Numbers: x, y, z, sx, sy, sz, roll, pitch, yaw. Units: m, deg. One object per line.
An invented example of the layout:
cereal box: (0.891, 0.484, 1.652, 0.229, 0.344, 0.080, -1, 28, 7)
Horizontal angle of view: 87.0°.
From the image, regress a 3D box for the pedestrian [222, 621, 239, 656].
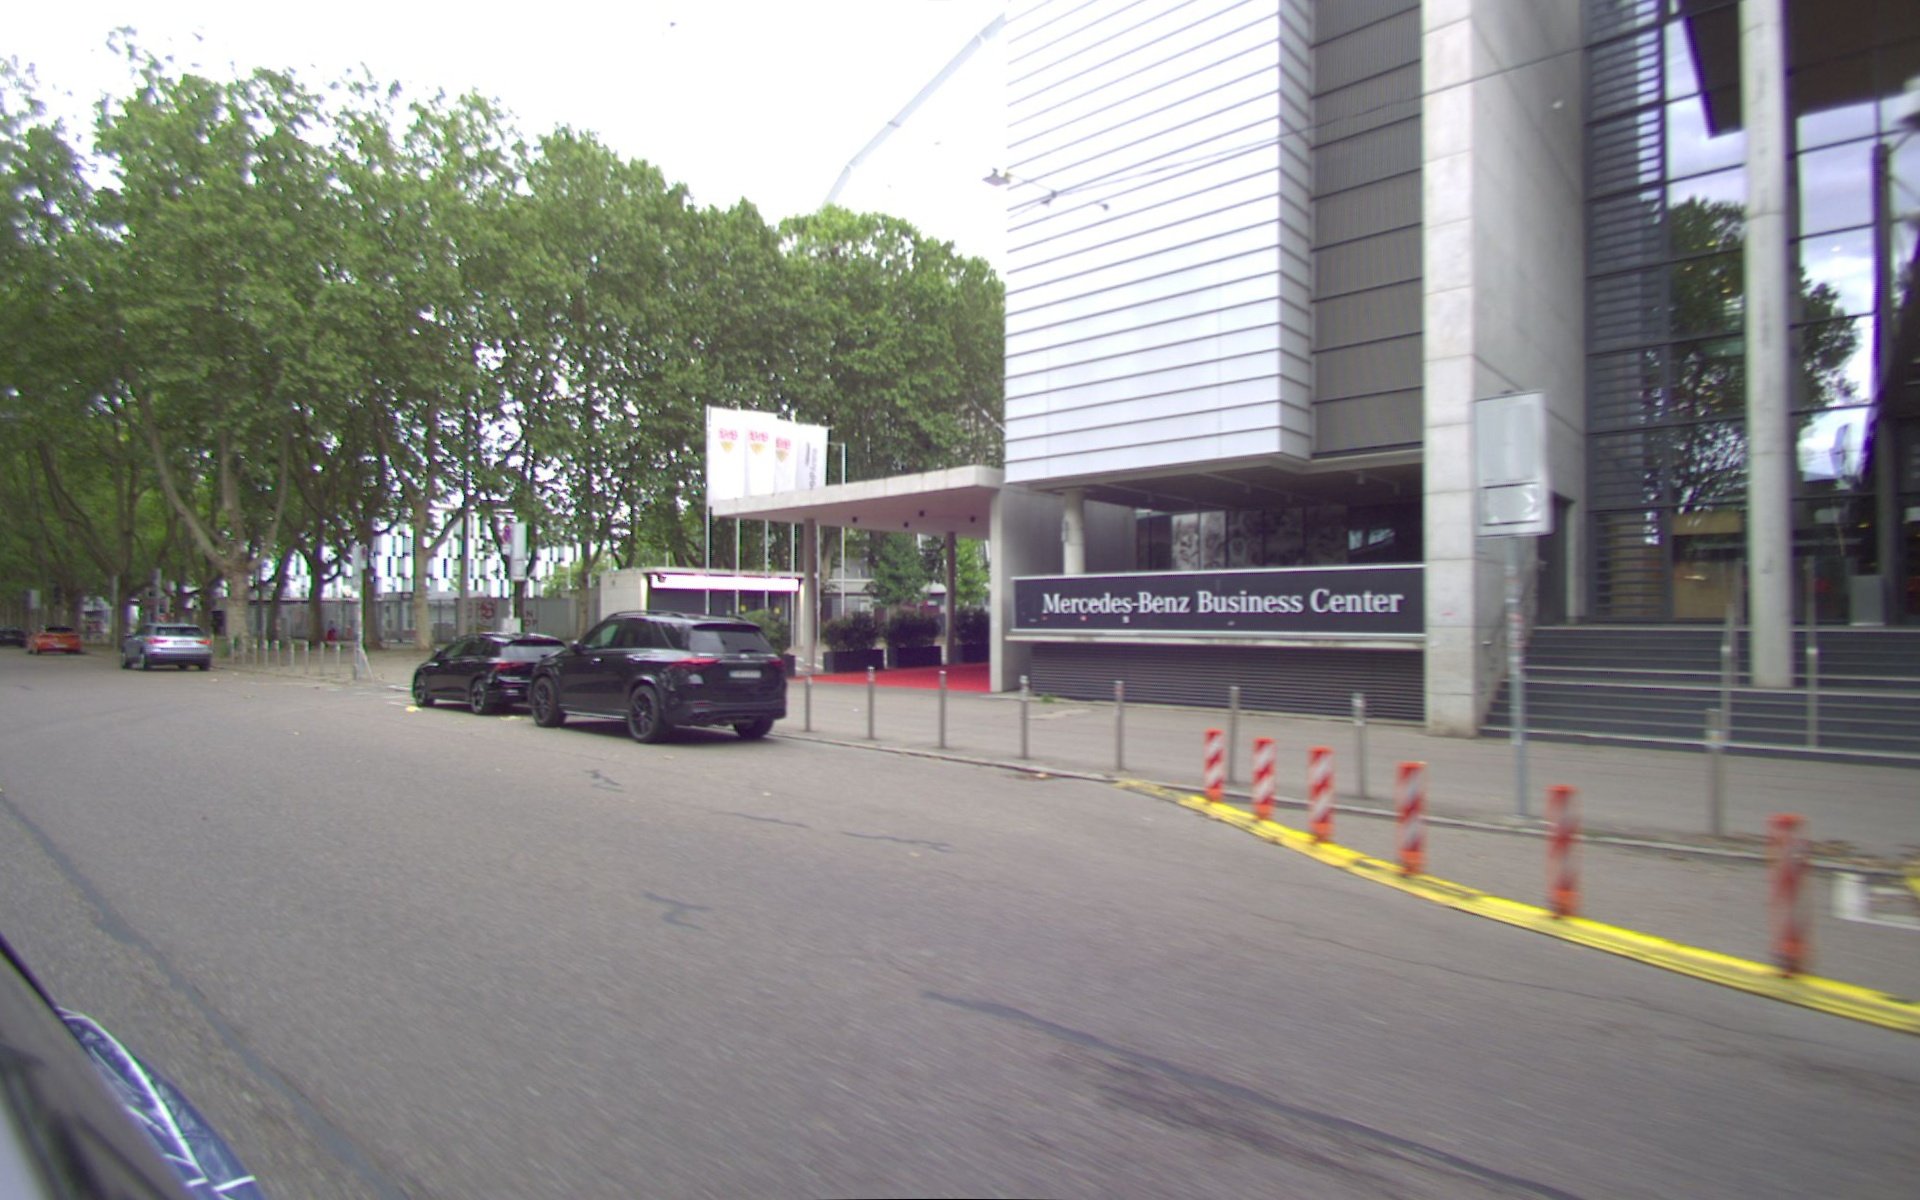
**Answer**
pedestrian: (-34.367, 1.825, 47.665, 0.585, 1.632, 0.793, 0, -1, -40)

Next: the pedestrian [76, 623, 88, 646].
pedestrian: (-66.945, 2.615, 77.162, 0.569, 1.783, 0.769, 0, -2, -34)

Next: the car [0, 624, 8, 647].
car: (-66.658, 2.403, 69.234, 4.149, 1.538, 1.858, -2, -3, 42)

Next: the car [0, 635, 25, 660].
car: (-58.115, 2.856, 61.358, 4.628, 1.477, 1.806, -2, -3, 44)

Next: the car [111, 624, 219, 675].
car: (-26.476, 1.599, 33.648, 4.754, 1.575, 2.051, -2, -2, 42)

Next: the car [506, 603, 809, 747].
car: (-4.638, 1.060, 15.091, 4.906, 1.803, 2.013, -2, -5, 42)

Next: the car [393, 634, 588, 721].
car: (-8.857, 1.386, 18.934, 4.323, 1.430, 1.686, -2, -4, 42)

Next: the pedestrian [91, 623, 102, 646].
pedestrian: (-66.310, 2.652, 77.710, 0.567, 1.755, 0.769, 0, -2, -34)

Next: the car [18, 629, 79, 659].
car: (-44.600, 2.131, 49.473, 3.999, 1.364, 1.789, -2, -2, 42)
